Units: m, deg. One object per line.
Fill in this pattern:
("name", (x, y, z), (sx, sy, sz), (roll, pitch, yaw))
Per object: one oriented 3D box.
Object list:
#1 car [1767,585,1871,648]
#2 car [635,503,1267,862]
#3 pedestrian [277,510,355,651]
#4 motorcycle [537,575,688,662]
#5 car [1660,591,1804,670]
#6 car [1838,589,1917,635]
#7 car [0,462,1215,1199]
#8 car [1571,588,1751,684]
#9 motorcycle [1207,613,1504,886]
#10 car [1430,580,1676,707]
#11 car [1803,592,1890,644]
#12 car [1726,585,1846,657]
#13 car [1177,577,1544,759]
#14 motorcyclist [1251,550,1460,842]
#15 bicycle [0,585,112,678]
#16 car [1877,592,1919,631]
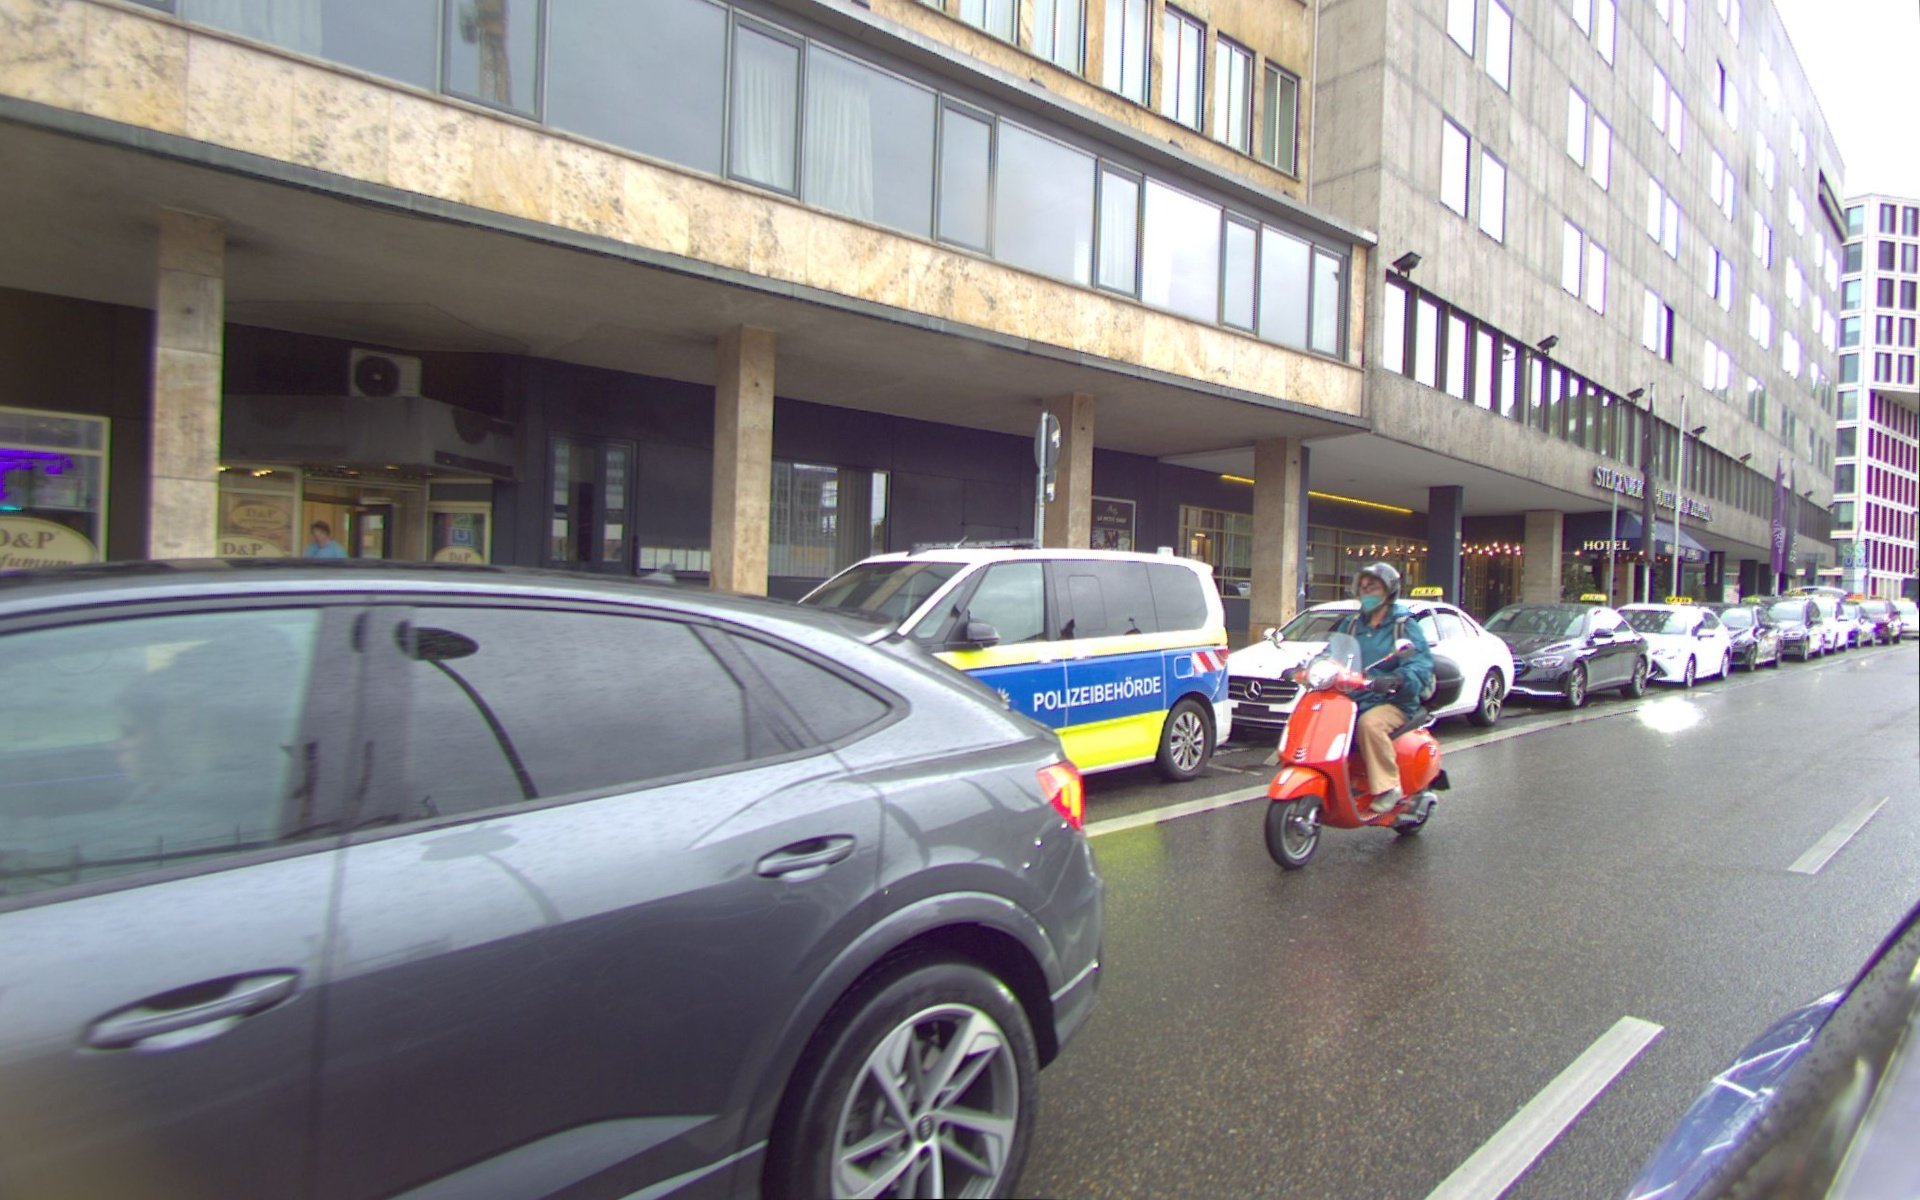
("car", (25.987, 0.445, 30.573), (4.731, 1.764, 1.729), (-1, 0, -41))
("car", (0.207, 0.424, 7.813), (4.850, 1.944, 1.877), (-1, 0, -41))
("pedestrian", (-8.699, -0.256, 13.709), (0.785, 1.813, 1.137), (0, 0, -27))
("motorcycle", (-5.196, 0.257, 15.209), (2.063, 1.233, 0.569), (0, 0, -33))
("car", (17.685, 0.618, 23.091), (4.731, 1.612, 1.729), (-1, 0, -41))
("car", (33.955, 0.407, 37.412), (3.932, 1.634, 1.729), (-1, 0, -41))
("car", (-1.549, 0.598, 2.015), (4.266, 1.520, 1.882), (-1, 0, -41))
("car", (13.430, 0.589, 19.277), (4.731, 1.612, 1.729), (-1, 0, -41))
("motorcycle", (2.400, 0.759, 6.025), (1.931, 1.323, 0.848), (0, 0, -41))
("car", (9.215, 0.548, 15.548), (4.731, 1.658, 1.877), (-1, 0, -41))
("car", (29.993, 0.552, 34.212), (3.932, 1.634, 1.729), (-1, 0, -41))
("car", (22.204, 0.489, 27.139), (4.731, 1.764, 1.729), (-1, 0, -41))
("car", (4.747, 0.600, 11.574), (4.924, 1.658, 1.877), (-1, 0, -41))
("motorcyclist", (2.328, 0.505, 5.969), (0.829, 1.547, 0.860), (0, 0, -40))
("bicycle", (-11.353, 0.363, 11.659), (2.428, 1.059, 0.657), (-1, 0, -41))
("car", (41.490, 0.454, 44.200), (3.932, 1.634, 1.729), (-1, 0, -41))
